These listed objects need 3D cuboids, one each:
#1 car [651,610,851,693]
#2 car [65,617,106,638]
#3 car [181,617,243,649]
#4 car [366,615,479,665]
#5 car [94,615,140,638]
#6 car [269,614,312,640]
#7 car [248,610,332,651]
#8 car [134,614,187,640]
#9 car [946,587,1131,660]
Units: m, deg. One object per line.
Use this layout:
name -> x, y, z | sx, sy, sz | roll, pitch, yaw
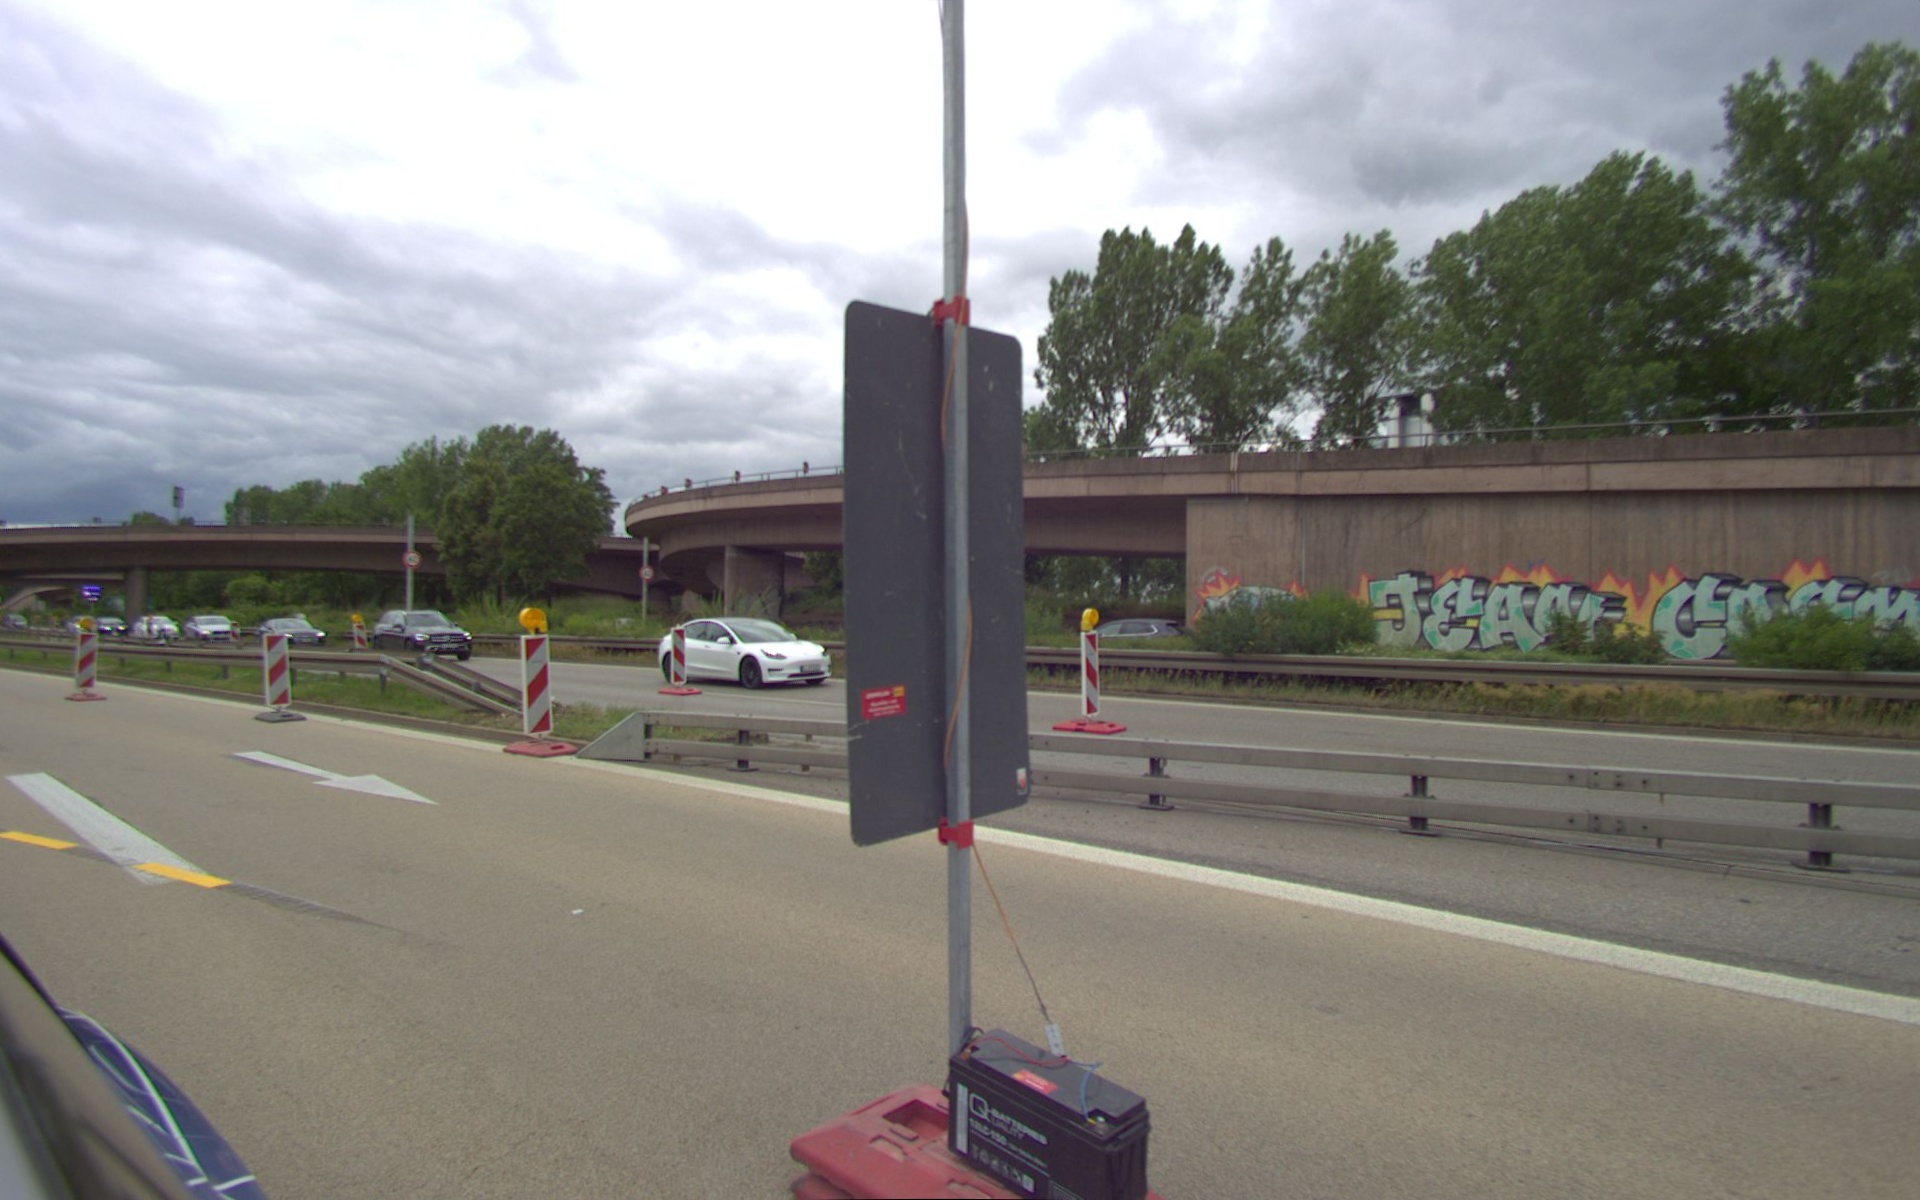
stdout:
car -> -4.575, 1.028, 21.784 | 4.459, 1.553, 1.972 | -1, 1, 42
car -> -70.390, 2.229, 81.474 | 4.291, 1.606, 1.972 | -1, -2, 42
car -> -38.888, 1.699, 52.586 | 3.999, 1.523, 1.778 | 0, -1, 42
car -> -18.012, 1.282, 33.816 | 4.290, 1.522, 1.954 | -1, 0, 41
car -> -61.000, 1.928, 73.226 | 4.291, 1.606, 1.972 | -1, -2, 42
car -> -53.849, 2.161, 81.394 | 4.000, 2.018, 1.972 | -1, -2, 43
car -> -29.548, 1.335, 44.612 | 3.994, 1.716, 1.912 | -1, -2, 38
car -> -50.409, 1.709, 63.817 | 3.999, 1.606, 1.972 | -1, -2, 42
car -> 1.860, 0.544, 24.832 | 4.289, 1.652, 1.835 | -1, -1, 41
